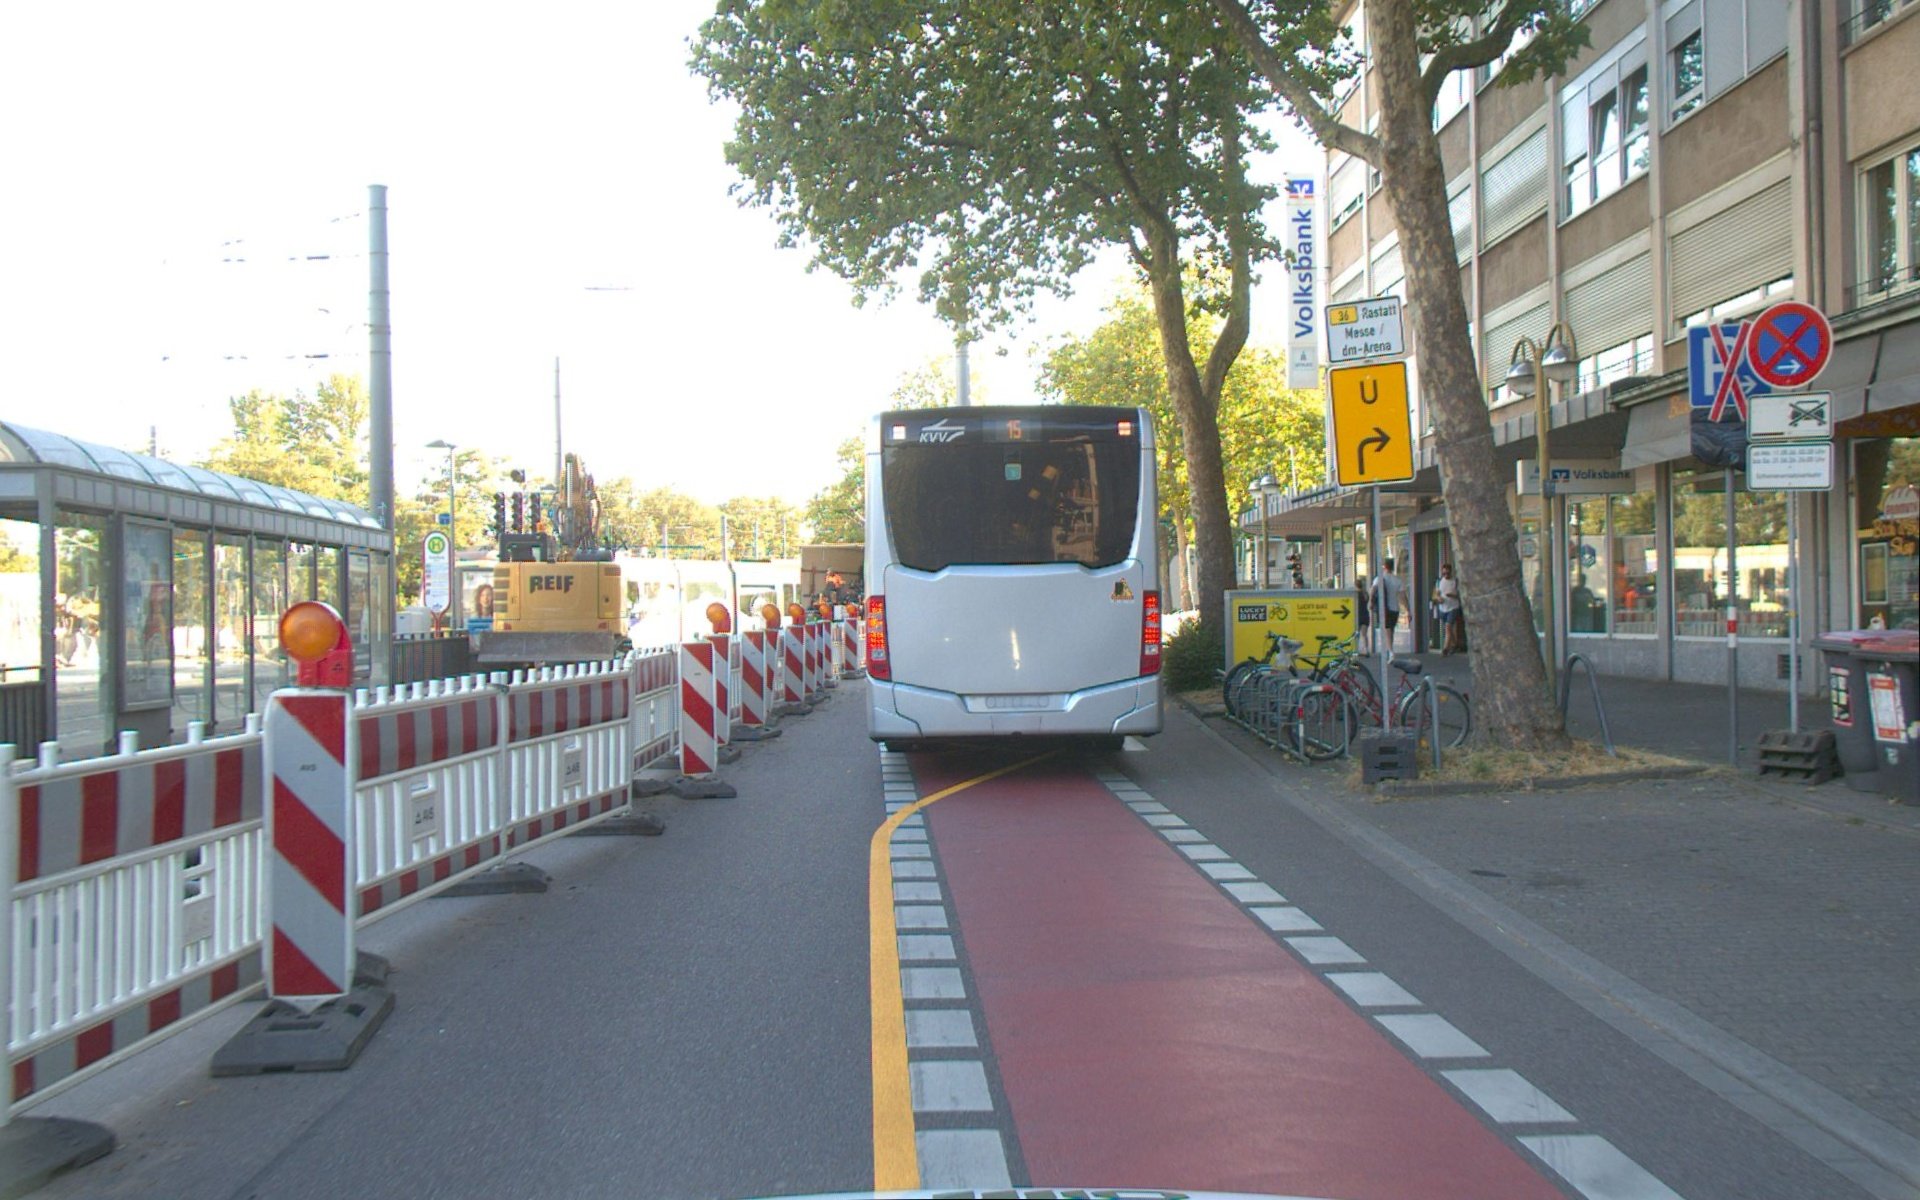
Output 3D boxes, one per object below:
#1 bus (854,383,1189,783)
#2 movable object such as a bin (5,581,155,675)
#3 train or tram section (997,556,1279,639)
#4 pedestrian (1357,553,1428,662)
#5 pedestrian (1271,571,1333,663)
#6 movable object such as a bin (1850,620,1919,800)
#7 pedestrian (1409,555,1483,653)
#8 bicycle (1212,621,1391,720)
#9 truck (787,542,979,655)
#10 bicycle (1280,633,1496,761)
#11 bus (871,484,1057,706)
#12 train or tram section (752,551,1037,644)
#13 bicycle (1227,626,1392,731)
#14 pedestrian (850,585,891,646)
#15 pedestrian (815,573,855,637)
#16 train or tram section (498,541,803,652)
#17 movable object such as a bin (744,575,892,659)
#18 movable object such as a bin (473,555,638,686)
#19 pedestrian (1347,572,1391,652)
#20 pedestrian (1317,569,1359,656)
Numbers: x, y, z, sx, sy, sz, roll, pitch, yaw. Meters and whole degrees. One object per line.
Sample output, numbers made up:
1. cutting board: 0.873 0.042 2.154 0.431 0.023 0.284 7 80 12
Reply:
1. bus: 0.287 -0.153 18.638 2.678 3.194 10.698 0 0 -2
2. movable object such as a bin: -26.895 0.825 50.761 2.107 2.685 4.599 -1 0 0
3. train or tram section: 8.203 -0.146 75.339 13.105 3.581 2.631 -1 -1 -23
4. pedestrian: 7.979 0.141 30.541 0.821 1.901 1.099 -5 0 -2
5. pedestrian: 6.689 0.329 32.389 0.881 1.740 1.070 -3 0 -2
6. movable object such as a bin: 6.308 0.688 10.427 0.660 1.094 1.227 -4 0 -1
7. pedestrian: 9.211 0.077 31.378 0.881 1.726 1.070 -7 0 -1
8. bicycle: 4.115 0.840 20.026 1.948 1.077 0.770 -3 -1 -5
9. truck: -2.481 -0.062 57.478 2.756 3.603 8.976 -1 0 25
10. bicycle: 3.873 0.870 15.035 1.754 1.040 0.643 -3 0 -4
11. bus: -0.112 -0.059 28.438 2.654 3.161 8.975 -1 0 -2
12. train or tram section: -2.504 -0.078 69.191 12.647 3.611 2.701 0 -1 -37
13. bicycle: 3.918 0.878 18.617 1.678 1.077 0.644 -3 0 0
14. pedestrian: -2.720 0.464 50.469 0.952 1.829 1.070 -1 0 15
15. pedestrian: -4.077 0.162 53.968 0.917 2.048 1.001 -1 1 23
16. train or tram section: -10.735 -0.064 59.872 2.797 3.595 13.368 -1 -1 30
17. movable object such as a bin: -4.026 0.451 47.840 1.954 2.296 5.204 0 0 25
18. movable object such as a bin: -7.866 0.373 32.685 2.593 2.358 4.894 -1 0 -7
19. pedestrian: 8.451 0.239 34.191 0.620 1.601 0.774 -4 0 -2
20. pedestrian: 7.784 0.263 34.087 0.571 1.738 0.679 -4 0 -2
